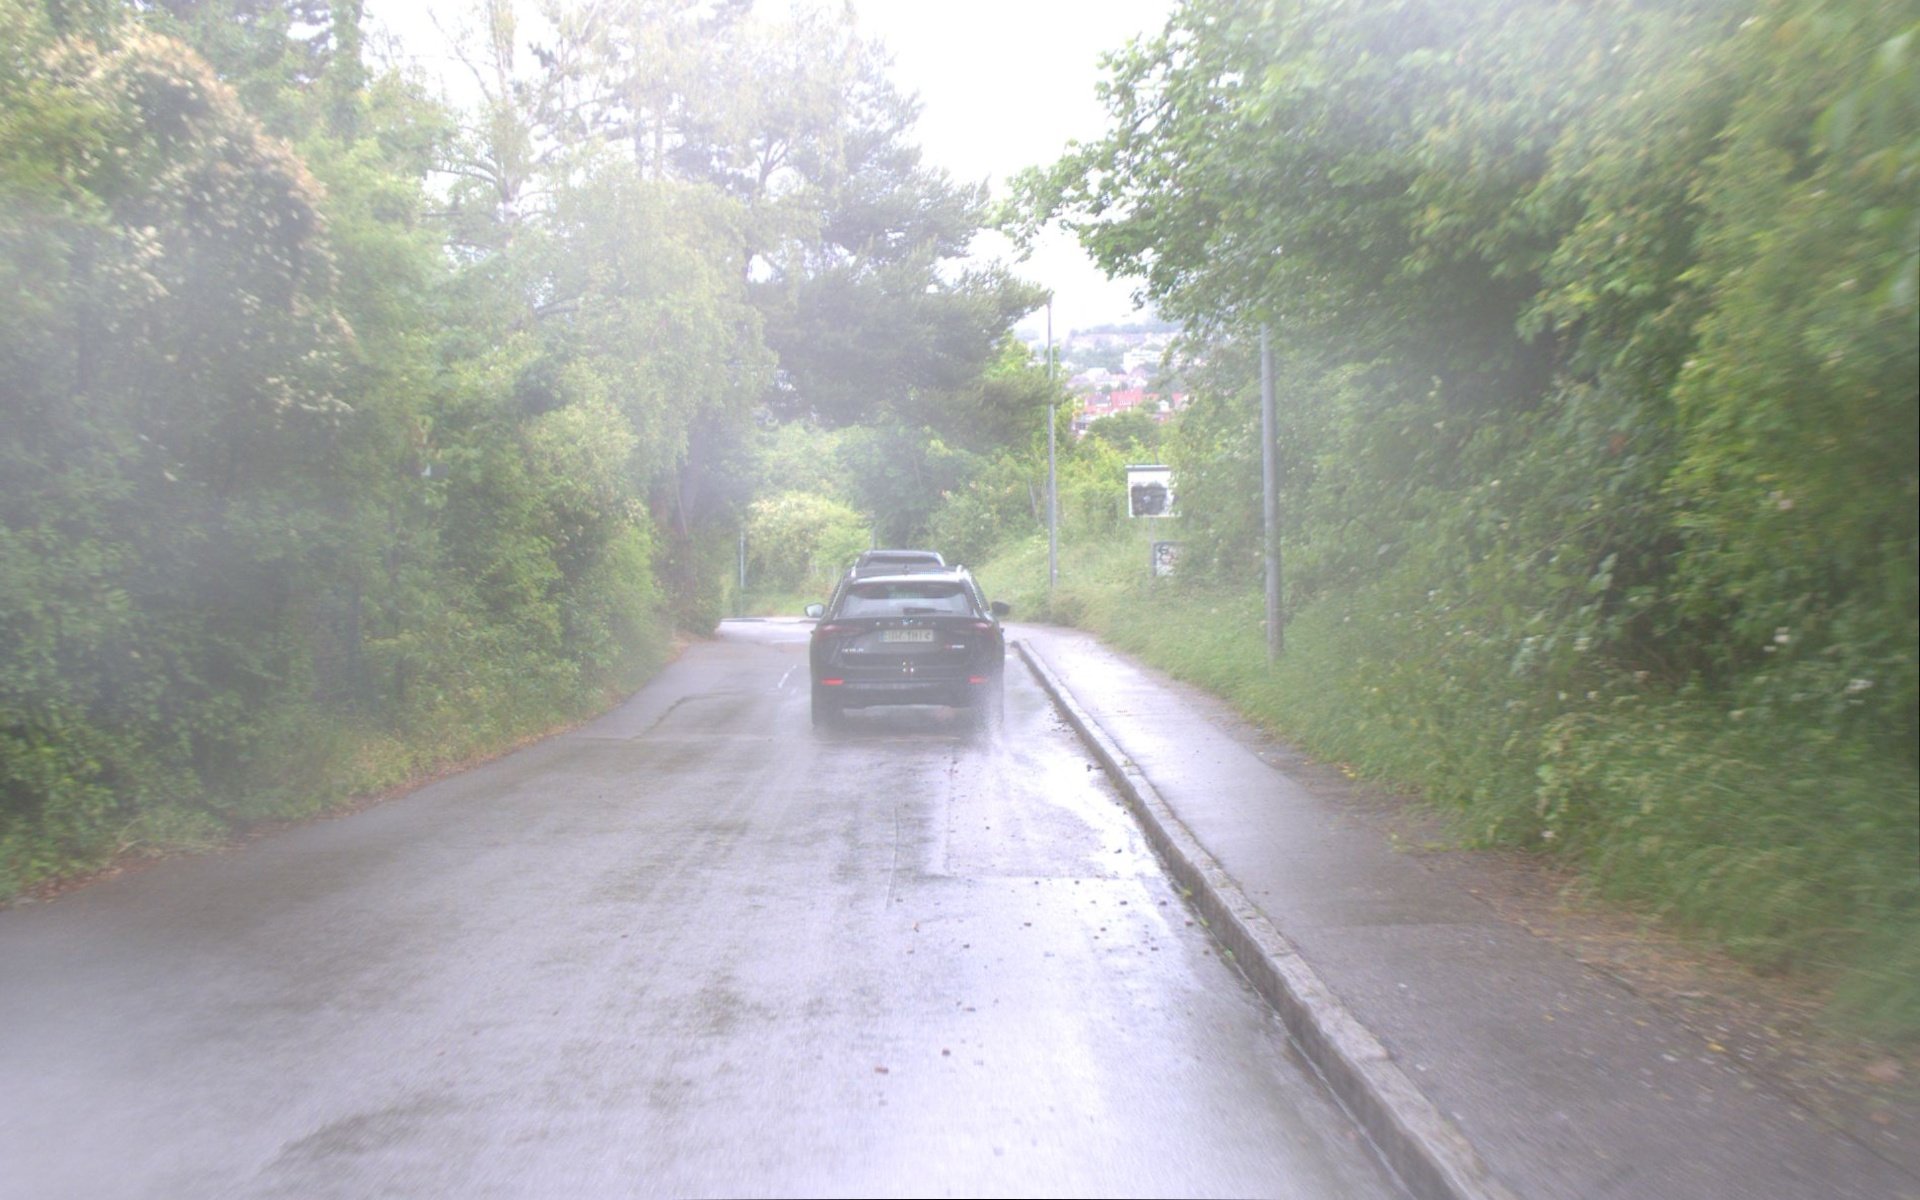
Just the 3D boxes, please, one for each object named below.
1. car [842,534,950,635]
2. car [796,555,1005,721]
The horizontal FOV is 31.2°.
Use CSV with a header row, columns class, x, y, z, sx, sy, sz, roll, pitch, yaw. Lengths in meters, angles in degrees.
class,x,y,z,sx,sy,sz,roll,pitch,yaw
car,-1.035,-0.265,55.490,1.678,1.560,3.794,0,1,-1
car,-0.574,0.392,32.214,1.835,1.459,4.000,0,-2,-2
